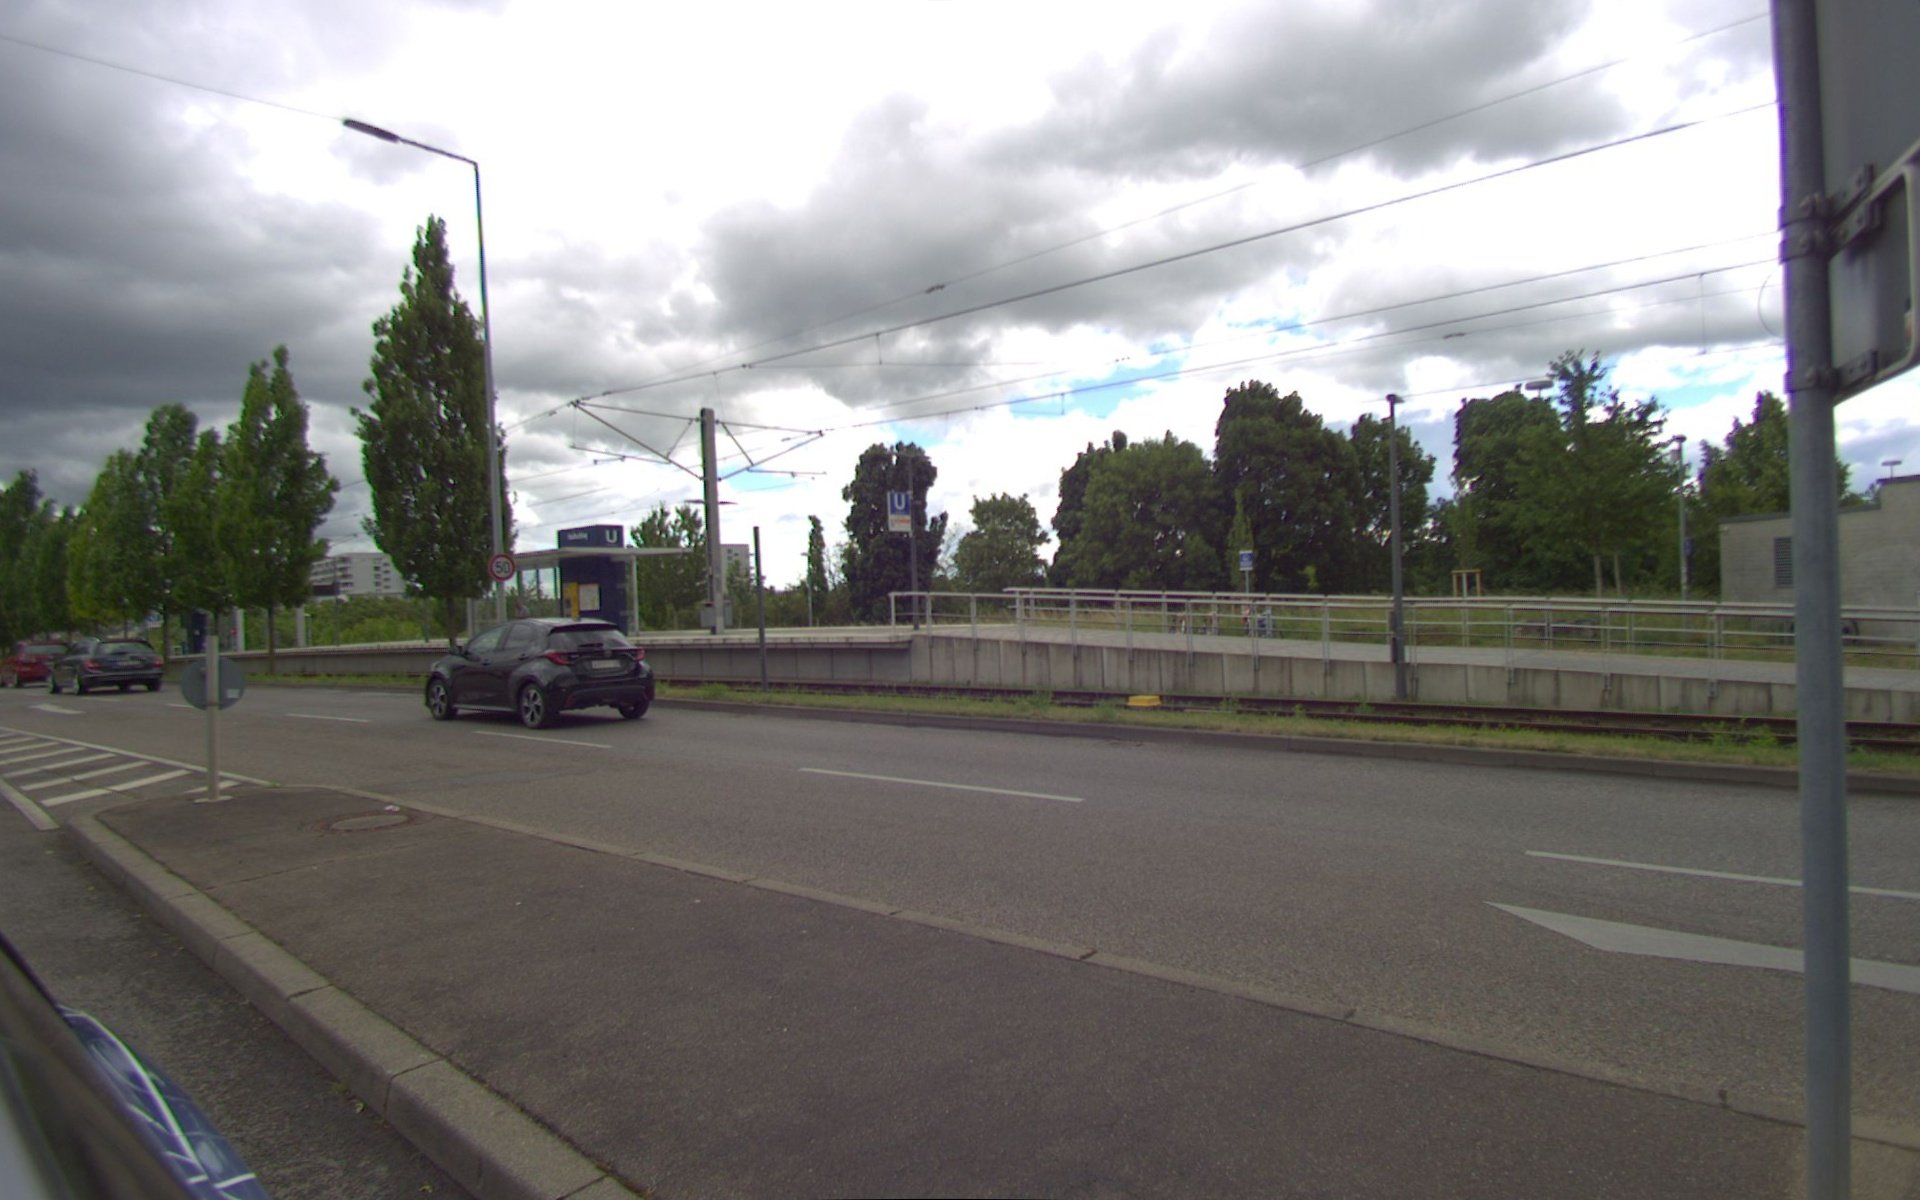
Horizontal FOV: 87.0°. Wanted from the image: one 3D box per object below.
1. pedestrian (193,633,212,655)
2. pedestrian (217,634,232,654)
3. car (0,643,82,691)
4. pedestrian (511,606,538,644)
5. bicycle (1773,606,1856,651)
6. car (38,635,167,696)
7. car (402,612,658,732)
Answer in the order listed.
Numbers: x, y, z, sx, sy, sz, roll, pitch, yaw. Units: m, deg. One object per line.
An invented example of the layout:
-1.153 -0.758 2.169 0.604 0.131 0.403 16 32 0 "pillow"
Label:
-43.971 2.557 58.743 0.665 1.208 0.753 -4 -3 41 "pedestrian"
-42.688 2.556 58.725 0.470 1.087 0.601 -6 -4 40 "pedestrian"
-31.422 2.266 34.320 4.080 1.499 1.687 -3 -2 37 "car"
-15.331 0.874 35.634 0.659 1.279 0.604 -6 -3 38 "pedestrian"
20.727 0.673 24.597 0.405 1.023 1.798 -2 0 -2 "bicycle"
-22.817 1.691 26.881 4.538 1.450 1.675 -2 -1 37 "car"
-6.293 0.968 14.657 3.930 1.507 1.580 -2 -1 35 "car"
